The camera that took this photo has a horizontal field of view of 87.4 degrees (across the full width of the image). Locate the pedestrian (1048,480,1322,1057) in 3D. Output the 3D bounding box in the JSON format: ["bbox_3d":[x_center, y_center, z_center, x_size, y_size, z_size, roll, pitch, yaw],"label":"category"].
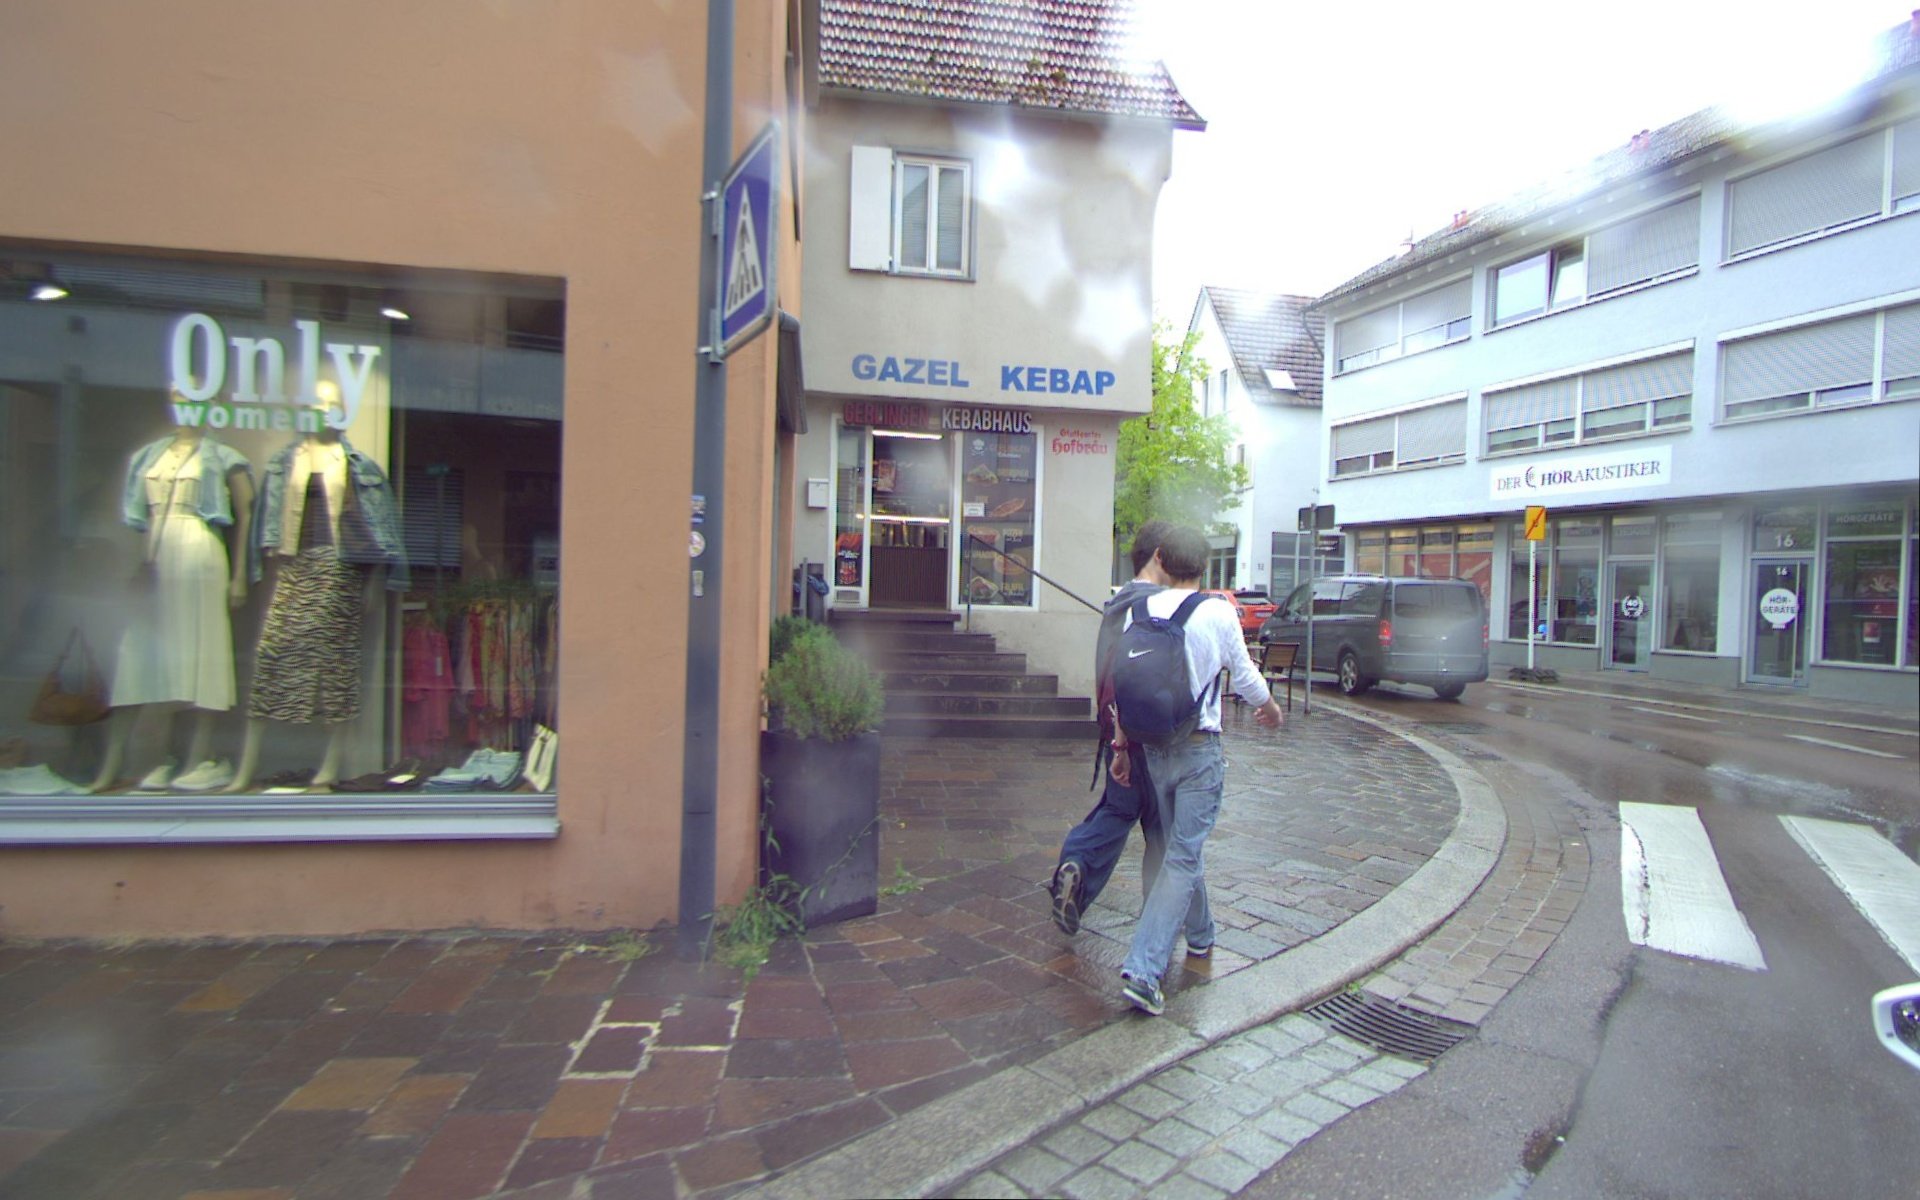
[{"bbox_3d":[0.891,0.536,3.810,0.654,1.831,1.058,2,0,32],"label":"pedestrian"}]

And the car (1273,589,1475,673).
[{"bbox_3d":[9.115,0.612,22.515,1.669,1.634,4.202,1,1,-23],"label":"car"}]

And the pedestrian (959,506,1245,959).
[{"bbox_3d":[0.642,0.543,4.595,1.045,1.824,0.689,2,0,-29],"label":"pedestrian"}]

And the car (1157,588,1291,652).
[{"bbox_3d":[7.135,0.493,27.514,1.657,1.549,3.780,0,1,-21],"label":"car"}]

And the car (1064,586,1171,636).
[{"bbox_3d":[5.094,0.328,32.982,1.773,1.515,3.841,2,0,-21],"label":"car"}]

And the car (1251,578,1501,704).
[{"bbox_3d":[6.888,0.563,17.298,1.916,1.805,4.721,1,2,-6],"label":"car"}]
